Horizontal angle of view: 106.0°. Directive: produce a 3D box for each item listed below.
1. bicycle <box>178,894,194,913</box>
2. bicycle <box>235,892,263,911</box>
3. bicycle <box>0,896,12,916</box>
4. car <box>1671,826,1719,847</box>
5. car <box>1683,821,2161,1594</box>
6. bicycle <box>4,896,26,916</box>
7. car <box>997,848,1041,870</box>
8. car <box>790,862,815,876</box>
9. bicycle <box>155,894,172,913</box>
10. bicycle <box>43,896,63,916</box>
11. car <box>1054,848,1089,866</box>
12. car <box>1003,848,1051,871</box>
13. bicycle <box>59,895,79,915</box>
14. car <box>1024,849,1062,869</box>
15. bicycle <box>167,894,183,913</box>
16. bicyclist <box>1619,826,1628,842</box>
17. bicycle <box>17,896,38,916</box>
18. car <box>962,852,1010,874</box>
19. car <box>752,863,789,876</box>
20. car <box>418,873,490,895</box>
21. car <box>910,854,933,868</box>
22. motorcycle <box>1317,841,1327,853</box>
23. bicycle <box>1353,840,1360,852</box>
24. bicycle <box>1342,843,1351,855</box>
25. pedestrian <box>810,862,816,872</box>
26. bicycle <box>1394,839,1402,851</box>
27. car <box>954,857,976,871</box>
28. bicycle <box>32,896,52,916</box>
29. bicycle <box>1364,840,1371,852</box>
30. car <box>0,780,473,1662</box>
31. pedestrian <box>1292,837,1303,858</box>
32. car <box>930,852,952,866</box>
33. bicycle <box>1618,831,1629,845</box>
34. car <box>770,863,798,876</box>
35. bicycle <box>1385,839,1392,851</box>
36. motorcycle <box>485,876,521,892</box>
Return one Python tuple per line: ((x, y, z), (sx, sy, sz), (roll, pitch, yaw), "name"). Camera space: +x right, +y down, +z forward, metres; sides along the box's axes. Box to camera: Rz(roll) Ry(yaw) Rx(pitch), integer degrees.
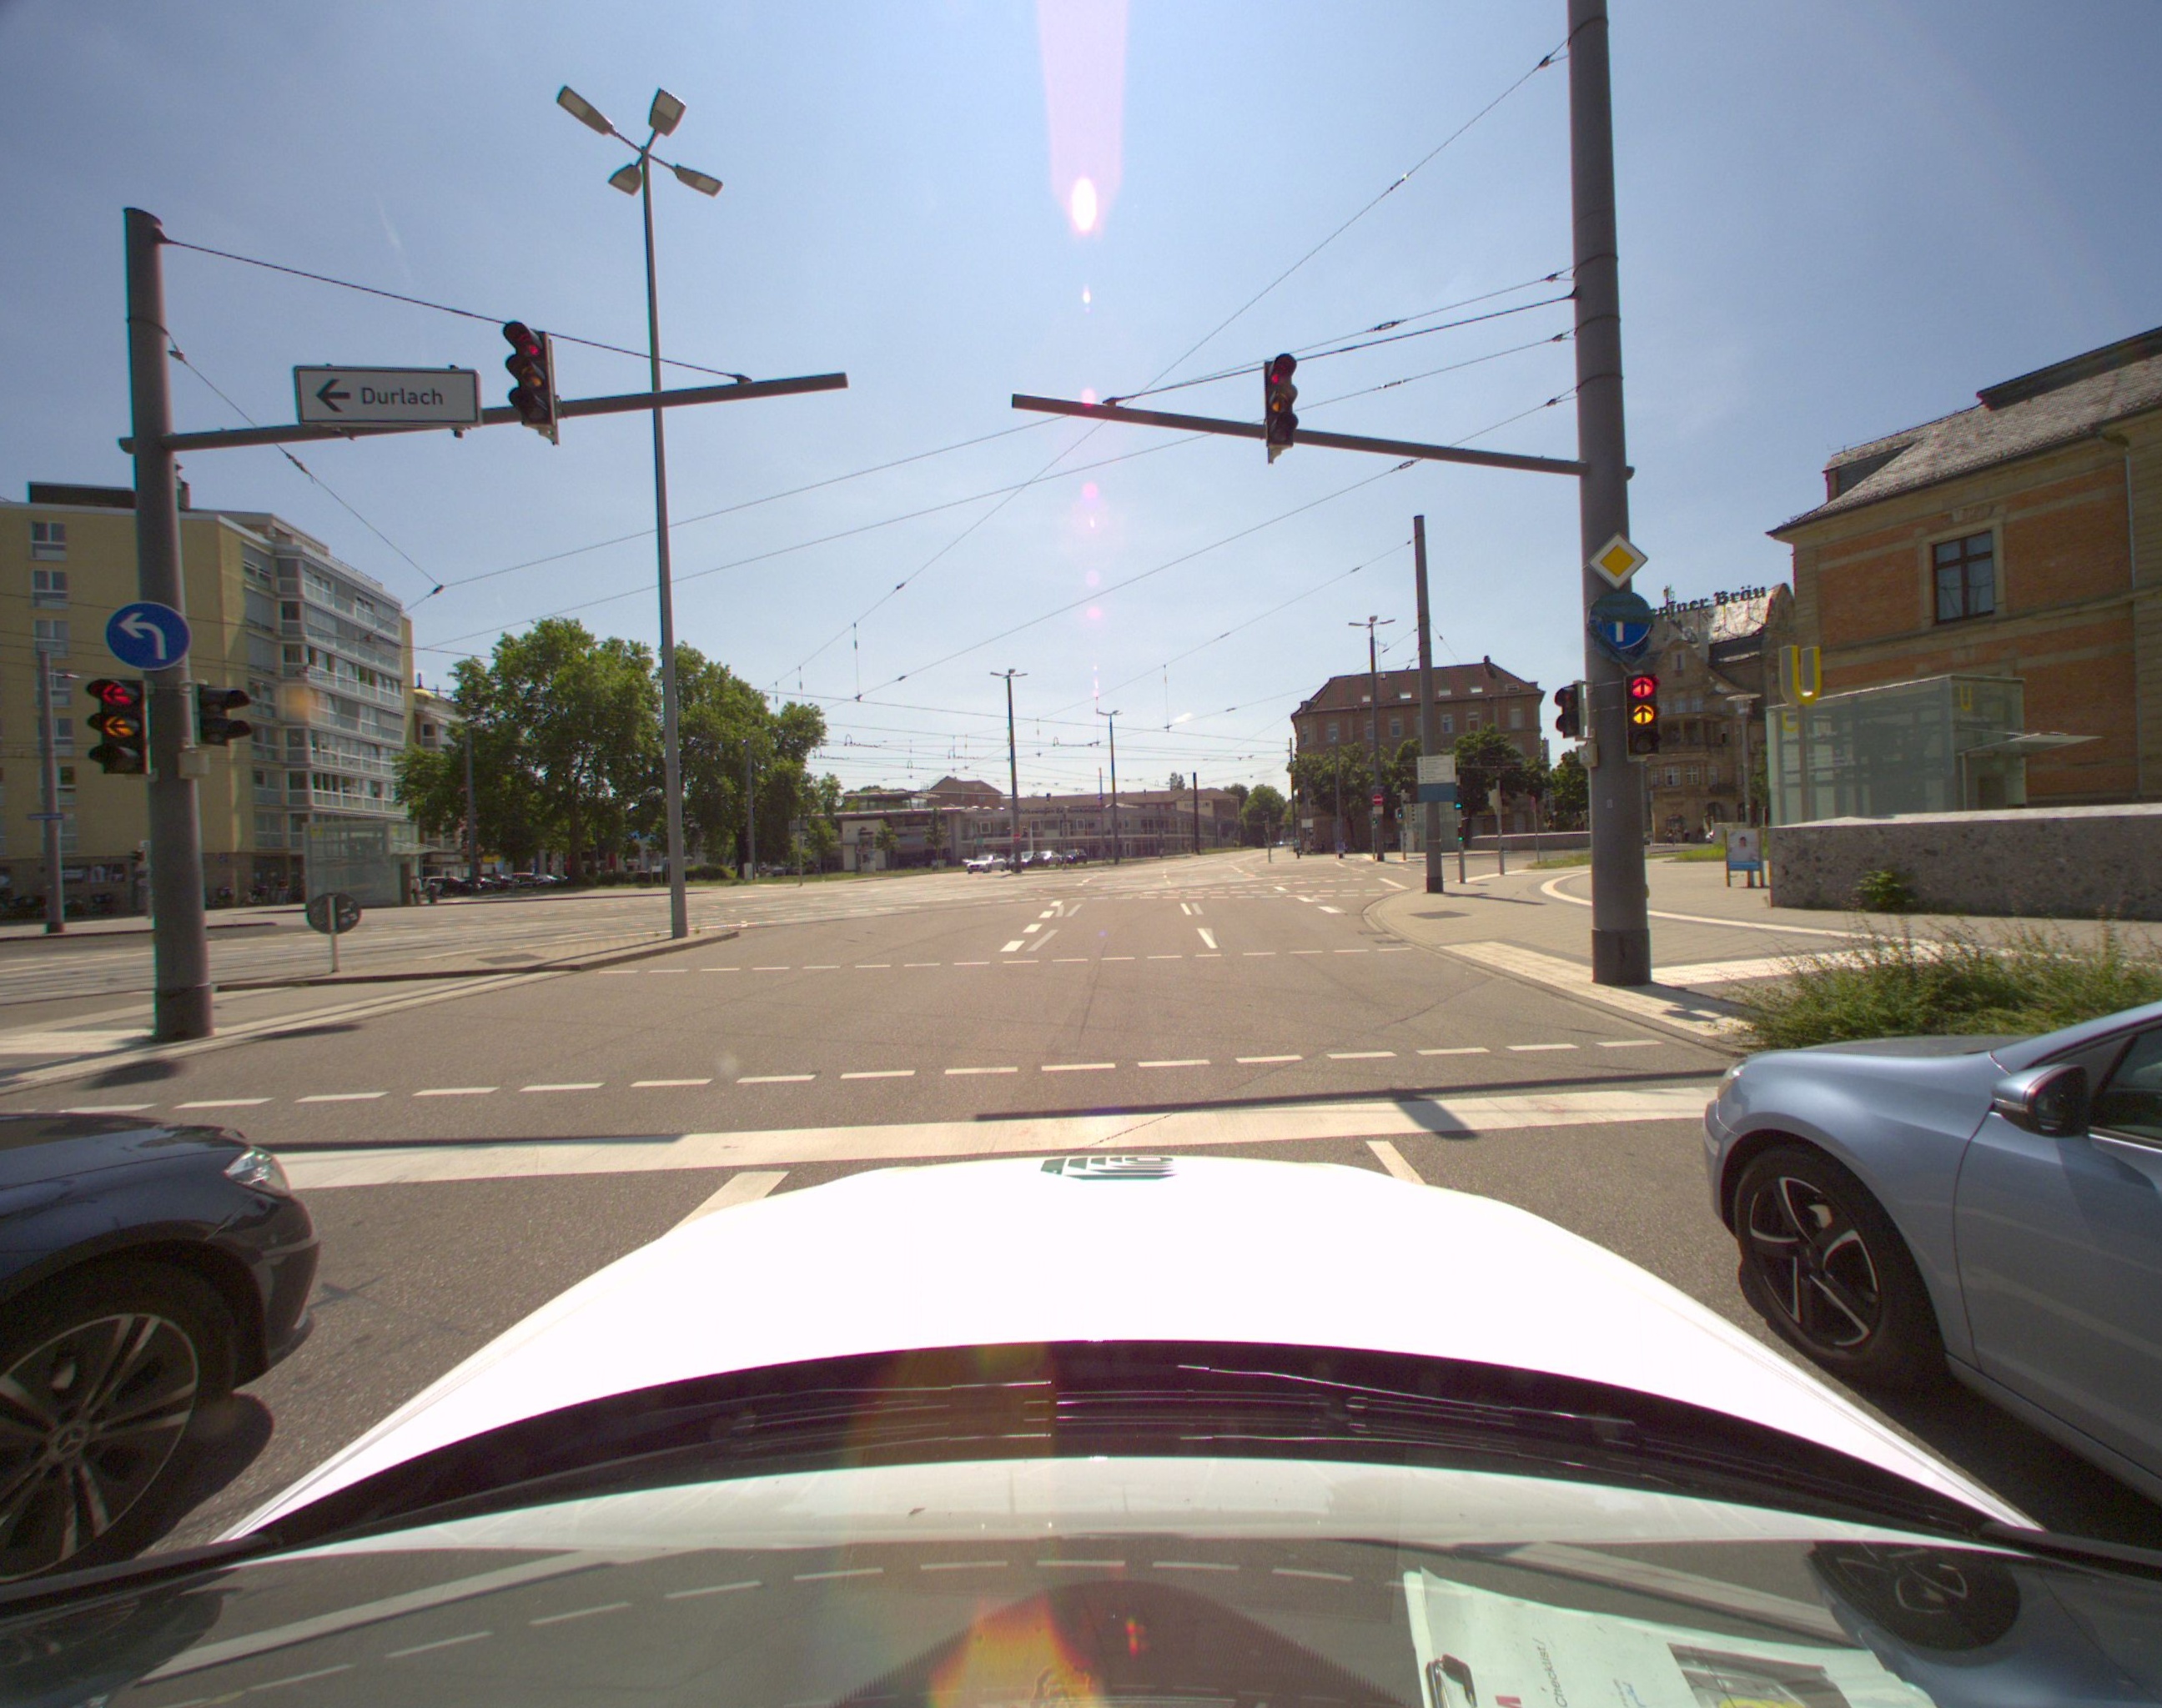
((-50.797, 2.794, 46.240), (0.435, 1.026, 1.426), (-2, 0, -42), "bicycle")
((-49.269, 2.802, 48.214), (0.432, 1.026, 1.437), (-2, 0, -14), "bicycle")
((-58.453, 2.829, 44.064), (0.435, 1.026, 1.426), (-2, 0, -42), "bicycle")
((52.551, -1.500, 69.710), (3.656, 1.605, 1.682), (-3, 0, -22), "car")
((2.828, 0.660, 0.769), (1.645, 1.459, 4.005), (-1, 0, 2), "car")
((-57.854, 2.826, 44.215), (0.435, 1.026, 1.426), (-2, 0, -42), "bicycle")
((-5.317, 0.440, 70.635), (1.977, 1.700, 4.870), (-2, 0, 19), "car")
((-34.942, 1.850, 102.205), (1.763, 1.510, 4.322), (-2, 0, -3), "car")
((-51.684, 2.797, 45.883), (0.435, 1.026, 1.426), (-2, 0, -42), "bicycle")
((-56.404, 2.820, 44.683), (0.435, 1.026, 1.426), (-2, 0, -42), "bicycle")
((-0.940, 0.322, 83.340), (2.061, 1.682, 4.870), (-2, 0, 19), "car")
((-4.228, 0.375, 64.777), (1.977, 1.637, 4.870), (-2, 0, 19), "car")
((-55.906, 2.819, 45.004), (0.435, 1.026, 1.426), (-2, 0, -42), "bicycle")
((-3.506, 0.460, 76.539), (1.977, 1.739, 4.565), (-2, 0, 19), "car")
((-51.219, 2.795, 46.052), (0.435, 1.026, 1.426), (-2, 0, -42), "bicycle")
((56.801, -2.115, 85.278), (0.730, 1.610, 1.084), (-1, -1, 30), "bicyclist")
((-57.398, 2.824, 44.374), (0.435, 1.026, 1.426), (-2, 0, -42), "bicycle")
((-7.470, 0.668, 64.542), (2.061, 1.580, 4.866), (-2, 0, 15), "car")
((-41.273, 2.029, 108.272), (4.343, 1.510, 1.754), (-2, 0, -33), "car")
((-48.858, 2.332, 63.511), (4.004, 1.420, 1.985), (-2, 0, -23), "car")
((-19.691, 0.855, 100.725), (1.913, 1.707, 4.002), (0, -1, 2), "car")
((23.315, -0.690, 78.754), (0.577, 1.074, 1.949), (-2, 0, 6), "motorcycle")
((26.437, -0.801, 78.198), (0.546, 1.120, 1.829), (-2, 0, 18), "bicycle")
((25.588, -0.500, 78.548), (0.440, 1.146, 2.099), (-1, -1, 9), "bicycle")
((-32.391, 1.590, 98.363), (0.510, 1.204, 0.446), (-2, 0, 7), "pedestrian")
((30.493, -0.895, 78.279), (0.546, 1.120, 1.938), (-2, 0, 18), "bicycle")
((-14.322, 1.210, 100.716), (1.913, 1.707, 4.002), (0, -1, 2), "car")
((-56.910, 2.823, 44.609), (0.435, 1.026, 1.426), (-2, 0, -42), "bicycle")
((27.421, -0.775, 77.993), (0.546, 1.120, 1.829), (-2, 0, 18), "bicycle")
((-2.971, 0.699, 0.245), (1.790, 1.640, 4.808), (-1, 0, 3), "car")
((17.679, -0.548, 66.553), (0.463, 1.708, 0.635), (-2, 0, -24), "pedestrian")
((-17.249, 0.640, 100.662), (1.913, 1.707, 4.002), (0, -1, 2), "car")
((56.805, -1.674, 85.291), (0.730, 1.398, 2.025), (-1, -1, 30), "bicycle")
((-37.461, 1.903, 102.762), (1.760, 1.510, 4.330), (-2, 0, 3), "car")
((29.463, -0.869, 78.076), (0.546, 1.120, 1.879), (-2, 0, 18), "bicycle")
((-39.116, 2.047, 55.161), (1.925, 0.961, 0.521), (-2, 0, -29), "motorcycle")
